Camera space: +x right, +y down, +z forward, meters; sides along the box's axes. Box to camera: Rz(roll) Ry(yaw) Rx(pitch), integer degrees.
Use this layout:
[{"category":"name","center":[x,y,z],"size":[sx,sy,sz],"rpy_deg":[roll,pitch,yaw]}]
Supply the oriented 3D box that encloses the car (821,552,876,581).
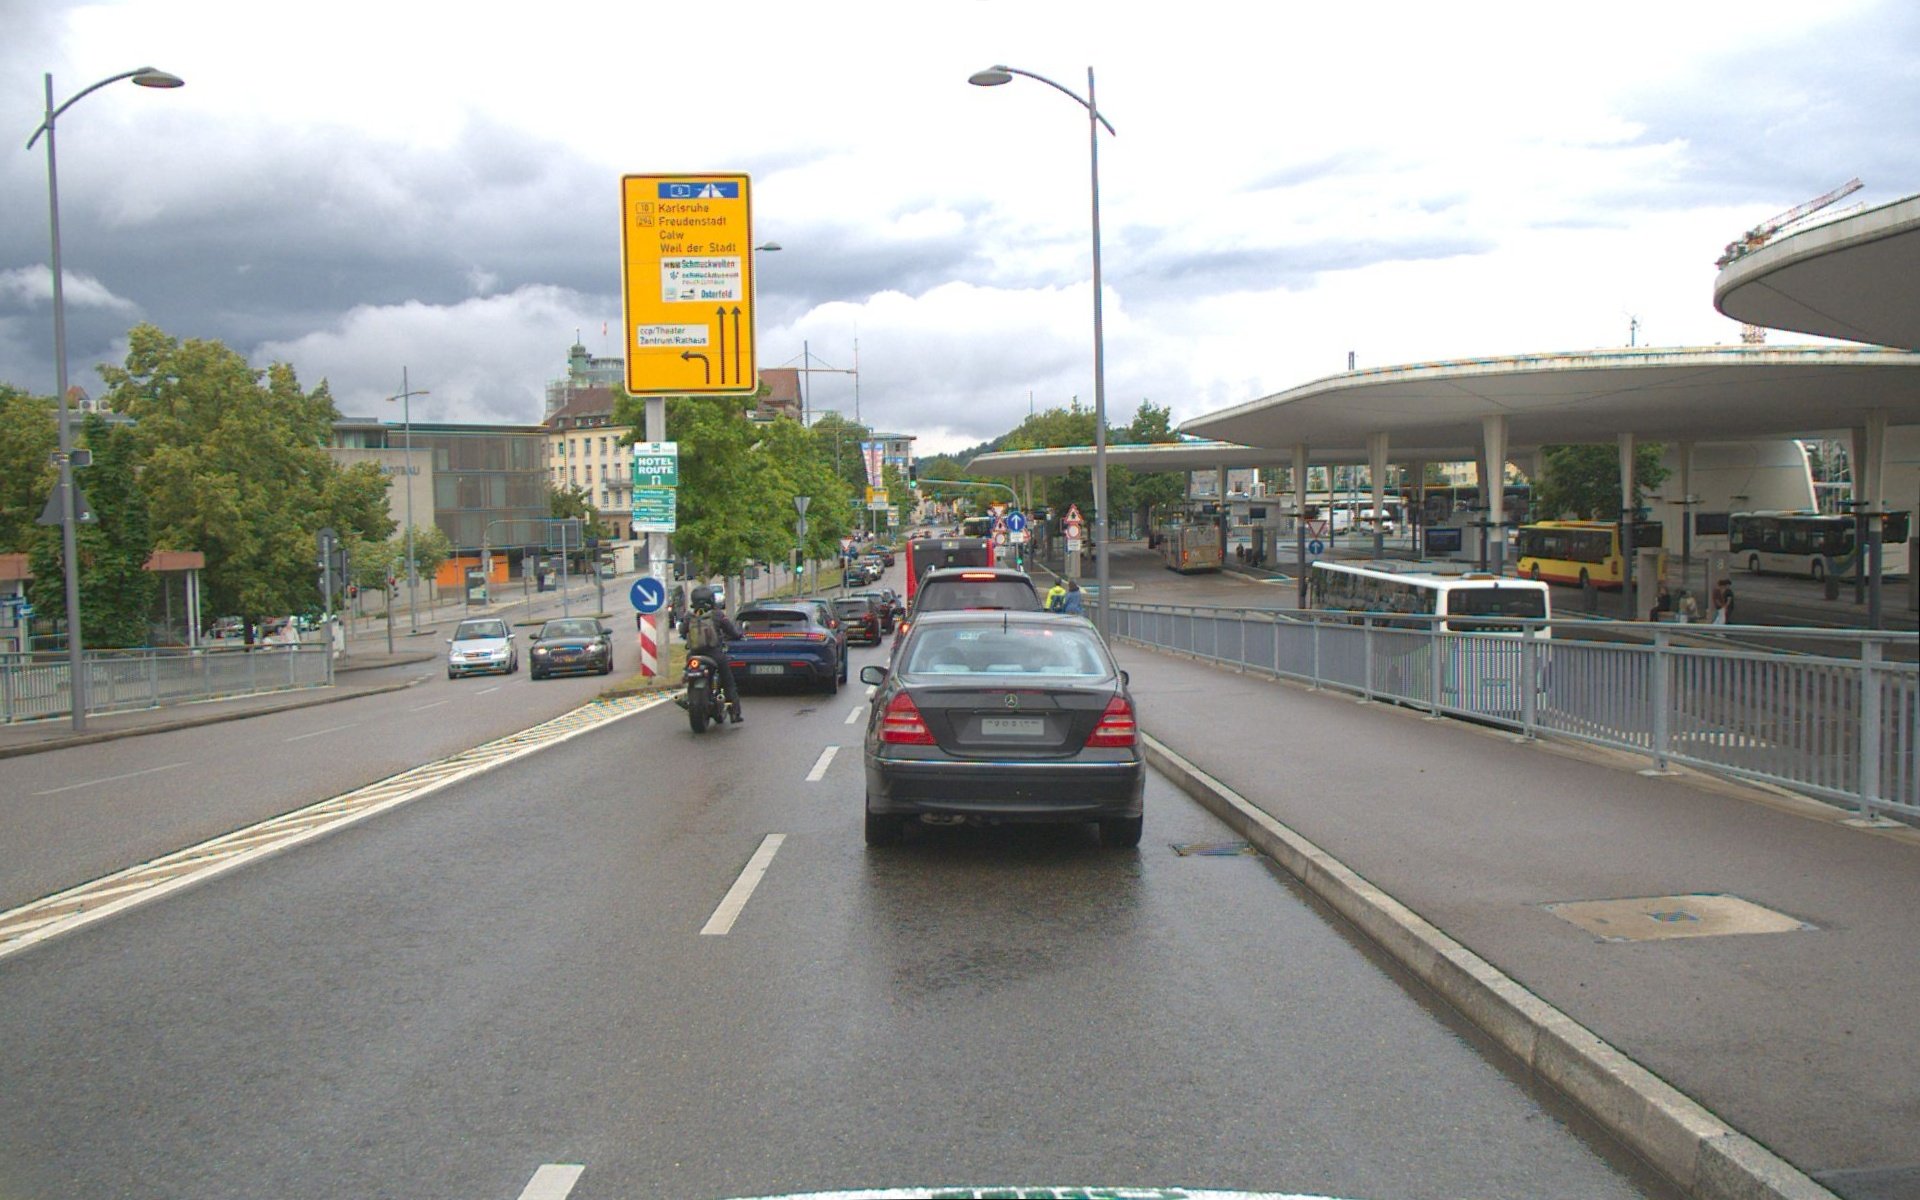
[{"category":"car","center":[-8.444,-2.548,125.433],"size":[3.903,2.048,2.001],"rpy_deg":[-2,1,3]}]

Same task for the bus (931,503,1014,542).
[{"category":"bus","center":[1.278,-8.729,185.008],"size":[3.235,4.076,10.744],"rpy_deg":[-5,5,-38]}]

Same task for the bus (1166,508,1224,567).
[{"category":"bus","center":[15.810,-4.145,112.001],"size":[3.111,3.663,10.516],"rpy_deg":[-1,1,4]}]

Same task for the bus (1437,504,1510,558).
[{"category":"bus","center":[32.480,-4.375,104.792],"size":[2.546,3.265,6.996],"rpy_deg":[-2,2,1]}]

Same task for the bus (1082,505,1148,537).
[{"category":"bus","center":[17.881,-9.106,190.976],"size":[7.057,3.455,3.080],"rpy_deg":[-2,2,-4]}]

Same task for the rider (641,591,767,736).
[{"category":"rider","center":[-2.815,0.657,18.452],"size":[0.862,1.497,2.197],"rpy_deg":[1,1,5]}]

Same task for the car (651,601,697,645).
[{"category":"car","center":[-14.130,1.145,81.868],"size":[1.956,2.049,4.195],"rpy_deg":[-2,0,-7]}]

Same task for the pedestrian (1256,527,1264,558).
[{"category":"pedestrian","center":[20.362,-3.906,112.387],"size":[0.415,2.048,0.483],"rpy_deg":[-2,1,1]}]

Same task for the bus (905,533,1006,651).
[{"category":"bus","center":[-0.200,-0.276,50.790],"size":[2.770,3.245,10.307],"rpy_deg":[0,1,-1]}]

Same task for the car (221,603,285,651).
[{"category":"car","center":[-34.845,1.323,81.476],"size":[1.979,2.048,3.948],"rpy_deg":[3,1,-37]}]

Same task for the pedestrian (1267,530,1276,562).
[{"category":"pedestrian","center":[20.504,-3.545,108.920],"size":[0.415,2.049,0.483],"rpy_deg":[-2,-1,1]}]

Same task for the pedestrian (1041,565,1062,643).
[{"category":"pedestrian","center":[2.431,0.103,43.874],"size":[0.479,2.049,0.470],"rpy_deg":[-2,-1,1]}]

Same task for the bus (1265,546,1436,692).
[{"category":"bus","center":[10.554,0.370,45.407],"size":[2.594,3.291,7.069],"rpy_deg":[-2,4,-4]}]

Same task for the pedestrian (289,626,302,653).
[{"category":"pedestrian","center":[-22.388,1.341,55.731],"size":[0.294,0.888,0.298],"rpy_deg":[-2,2,2]}]

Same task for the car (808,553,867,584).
[{"category":"car","center":[-8.758,-2.244,118.148],"size":[3.903,2.048,2.001],"rpy_deg":[-2,1,3]}]

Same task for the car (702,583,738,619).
[{"category":"car","center":[-14.322,0.094,98.884],"size":[1.956,2.049,4.195],"rpy_deg":[-2,0,-7]}]

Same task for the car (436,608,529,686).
[{"category":"car","center":[-13.753,1.305,47.843],"size":[1.956,2.049,3.993],"rpy_deg":[-2,0,-8]}]

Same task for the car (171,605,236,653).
[{"category":"car","center":[-36.693,1.387,80.178],"size":[1.979,2.048,3.948],"rpy_deg":[3,1,-37]}]

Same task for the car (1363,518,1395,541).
[{"category":"car","center":[39.983,-6.747,158.018],"size":[1.953,2.048,4.000],"rpy_deg":[-2,2,-1]}]

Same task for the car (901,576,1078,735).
[{"category":"car","center":[0.454,0.569,19.960],"size":[1.788,1.716,4.003],"rpy_deg":[0,1,6]}]

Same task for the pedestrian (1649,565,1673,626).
[{"category":"pedestrian","center":[23.743,-0.164,56.012],"size":[0.532,2.048,0.579],"rpy_deg":[-2,1,0]}]

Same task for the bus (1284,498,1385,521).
[{"category":"bus","center":[38.488,-9.287,170.070],"size":[9.967,2.048,2.169],"rpy_deg":[-2,1,-4]}]

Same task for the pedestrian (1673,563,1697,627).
[{"category":"pedestrian","center":[23.433,-0.169,53.457],"size":[0.549,2.048,0.483],"rpy_deg":[-2,1,1]}]

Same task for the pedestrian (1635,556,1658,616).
[{"category":"pedestrian","center":[23.853,-0.481,57.469],"size":[0.532,2.048,0.579],"rpy_deg":[-2,1,0]}]

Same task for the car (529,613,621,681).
[{"category":"car","center":[-9.631,1.141,41.691],"size":[1.799,1.553,4.586],"rpy_deg":[-2,0,-8]}]

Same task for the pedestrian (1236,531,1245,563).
[{"category":"pedestrian","center":[18.100,-3.424,106.731],"size":[0.415,2.048,0.483],"rpy_deg":[-2,1,1]}]

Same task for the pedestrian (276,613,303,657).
[{"category":"pedestrian","center":[-22.549,1.187,55.646],"size":[0.634,1.433,0.531],"rpy_deg":[-2,2,2]}]

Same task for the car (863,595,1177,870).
[{"category":"car","center":[0.356,0.708,10.768],"size":[1.671,1.444,3.726],"rpy_deg":[1,0,1]}]

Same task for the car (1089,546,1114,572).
[{"category":"car","center":[11.761,-3.439,137.527],"size":[1.951,2.048,4.003],"rpy_deg":[-2,1,5]}]

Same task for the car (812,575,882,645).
[{"category":"car","center":[-3.429,0.261,50.705],"size":[1.953,2.041,3.999],"rpy_deg":[0,1,-1]}]

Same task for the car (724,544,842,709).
[{"category":"car","center":[-3.542,0.616,33.831],"size":[1.953,2.038,4.005],"rpy_deg":[-1,-21,0]}]

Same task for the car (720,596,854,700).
[{"category":"car","center":[-2.667,0.702,26.305],"size":[1.724,1.461,4.000],"rpy_deg":[0,1,0]}]

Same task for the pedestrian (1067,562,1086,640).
[{"category":"pedestrian","center":[3.086,0.025,43.732],"size":[0.415,2.049,0.483],"rpy_deg":[-2,-1,1]}]

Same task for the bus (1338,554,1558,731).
[{"category":"bus","center":[11.076,0.792,38.314],"size":[2.594,3.291,7.069],"rpy_deg":[-2,4,-4]}]
